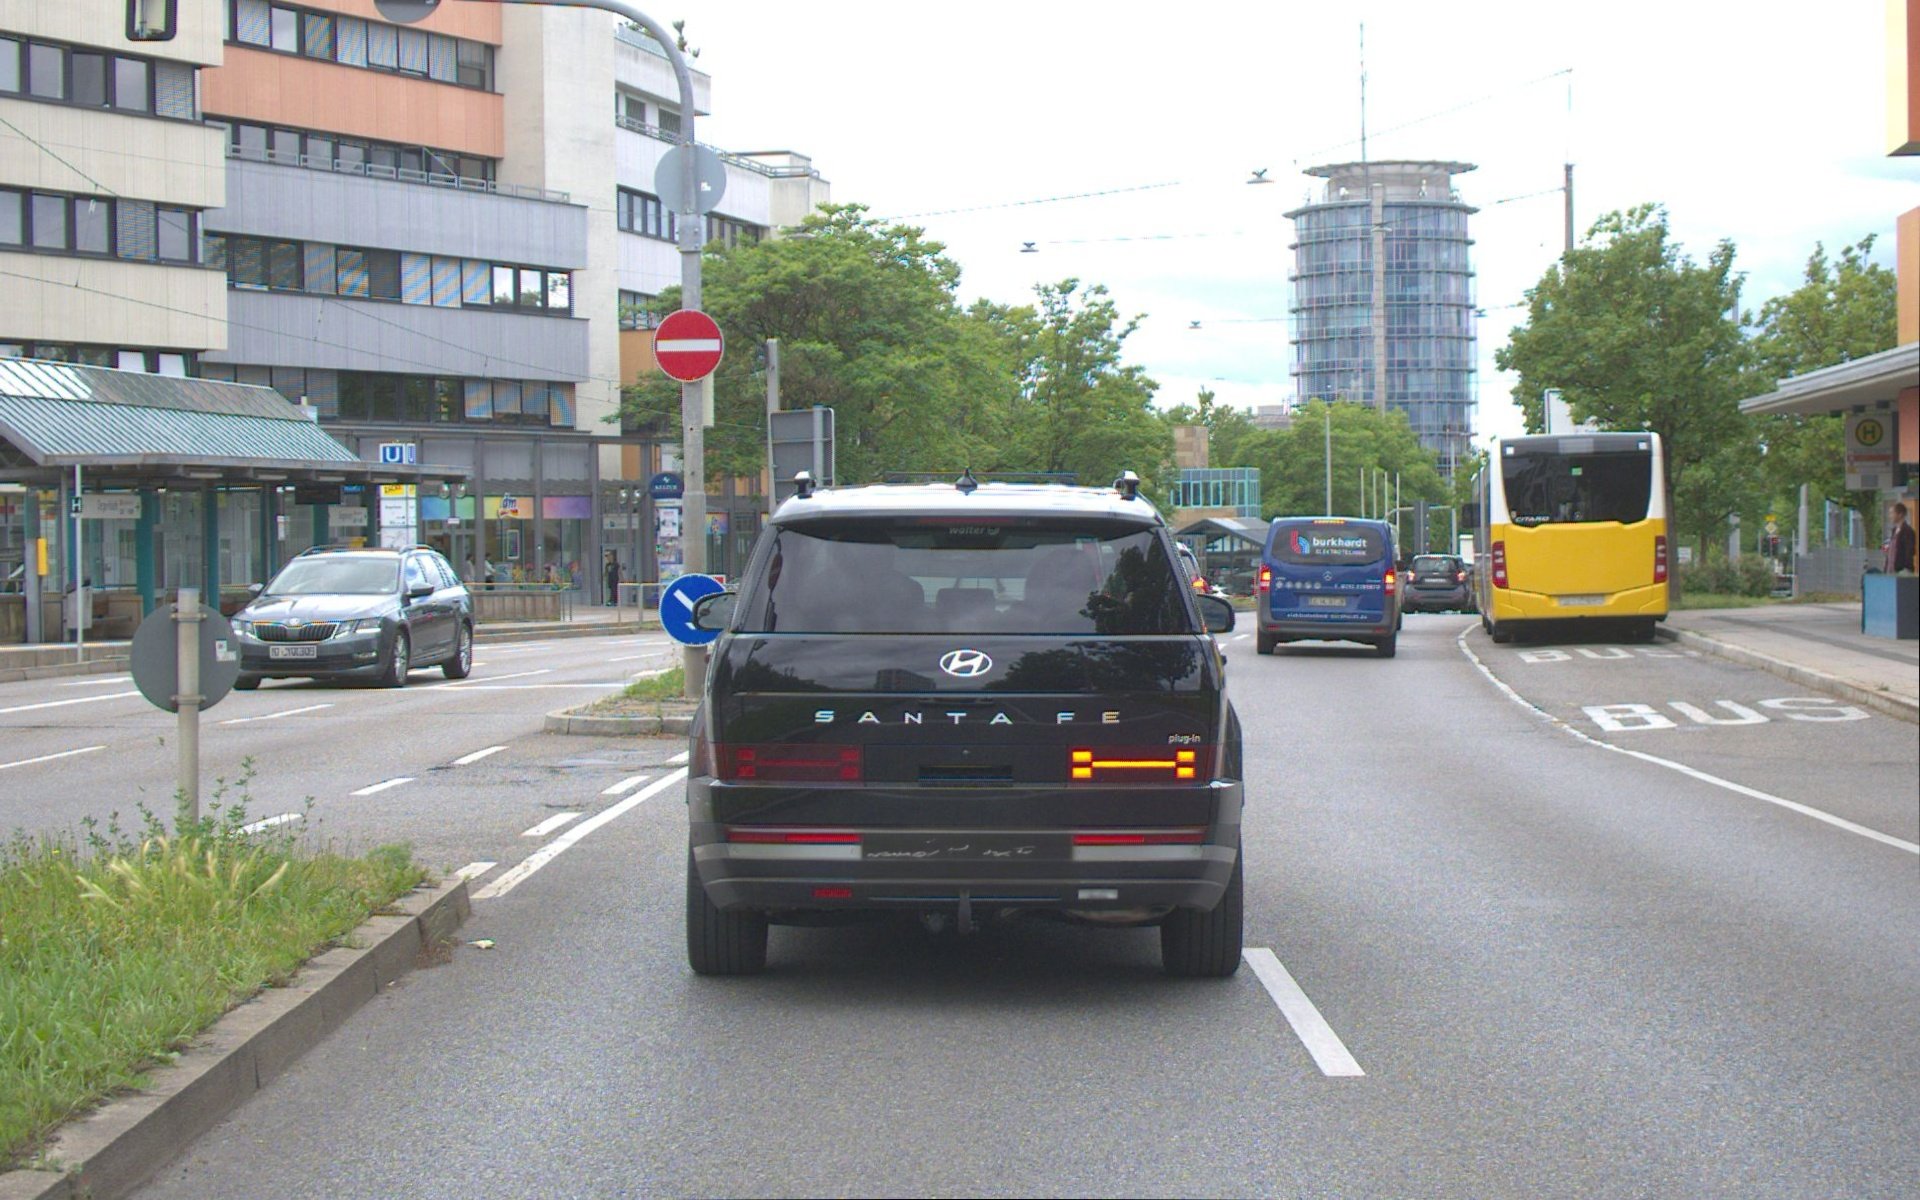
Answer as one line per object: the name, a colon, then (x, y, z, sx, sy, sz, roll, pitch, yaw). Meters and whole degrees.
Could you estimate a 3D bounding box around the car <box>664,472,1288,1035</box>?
car: (-0.137, 0.408, 12.847, 1.902, 1.725, 4.447, 1, 2, -5)

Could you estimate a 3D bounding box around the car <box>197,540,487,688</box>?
car: (-6.432, 0.104, 36.273, 1.798, 1.450, 4.611, 0, 1, 6)

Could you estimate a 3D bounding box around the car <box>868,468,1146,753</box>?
car: (0.362, -0.002, 26.295, 1.902, 1.962, 4.636, 1, 2, 1)

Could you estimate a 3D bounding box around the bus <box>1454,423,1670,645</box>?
bus: (9.311, -1.013, 53.909, 2.967, 3.106, 9.241, -1, 1, 8)

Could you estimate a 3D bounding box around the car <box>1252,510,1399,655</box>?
car: (5.021, -0.293, 47.684, 1.902, 1.852, 4.709, 1, 2, 5)

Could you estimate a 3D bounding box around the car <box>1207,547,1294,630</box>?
car: (7.096, -0.309, 83.677, 1.902, 1.852, 4.708, 1, 2, 7)

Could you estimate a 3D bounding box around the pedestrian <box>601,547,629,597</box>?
pedestrian: (-11.595, -0.929, 115.558, 0.732, 1.667, 0.581, 0, 1, 30)

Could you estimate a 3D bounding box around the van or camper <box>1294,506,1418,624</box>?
van or camper: (6.906, -0.652, 60.324, 1.994, 1.911, 4.409, 0, 2, 5)

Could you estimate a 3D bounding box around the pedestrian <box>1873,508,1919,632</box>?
pedestrian: (12.645, -0.407, 46.398, 0.524, 1.667, 0.733, 0, 1, 7)

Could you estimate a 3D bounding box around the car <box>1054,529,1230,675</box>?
car: (2.091, -0.022, 40.591, 1.902, 1.537, 4.710, 1, 2, 1)

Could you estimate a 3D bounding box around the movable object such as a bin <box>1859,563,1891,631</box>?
movable object such as a bin: (12.195, -0.045, 45.839, 0.356, 0.894, 0.462, 0, 1, 8)

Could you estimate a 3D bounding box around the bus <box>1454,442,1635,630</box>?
bus: (10.657, -1.156, 63.324, 2.953, 3.101, 9.973, -1, 1, 8)
